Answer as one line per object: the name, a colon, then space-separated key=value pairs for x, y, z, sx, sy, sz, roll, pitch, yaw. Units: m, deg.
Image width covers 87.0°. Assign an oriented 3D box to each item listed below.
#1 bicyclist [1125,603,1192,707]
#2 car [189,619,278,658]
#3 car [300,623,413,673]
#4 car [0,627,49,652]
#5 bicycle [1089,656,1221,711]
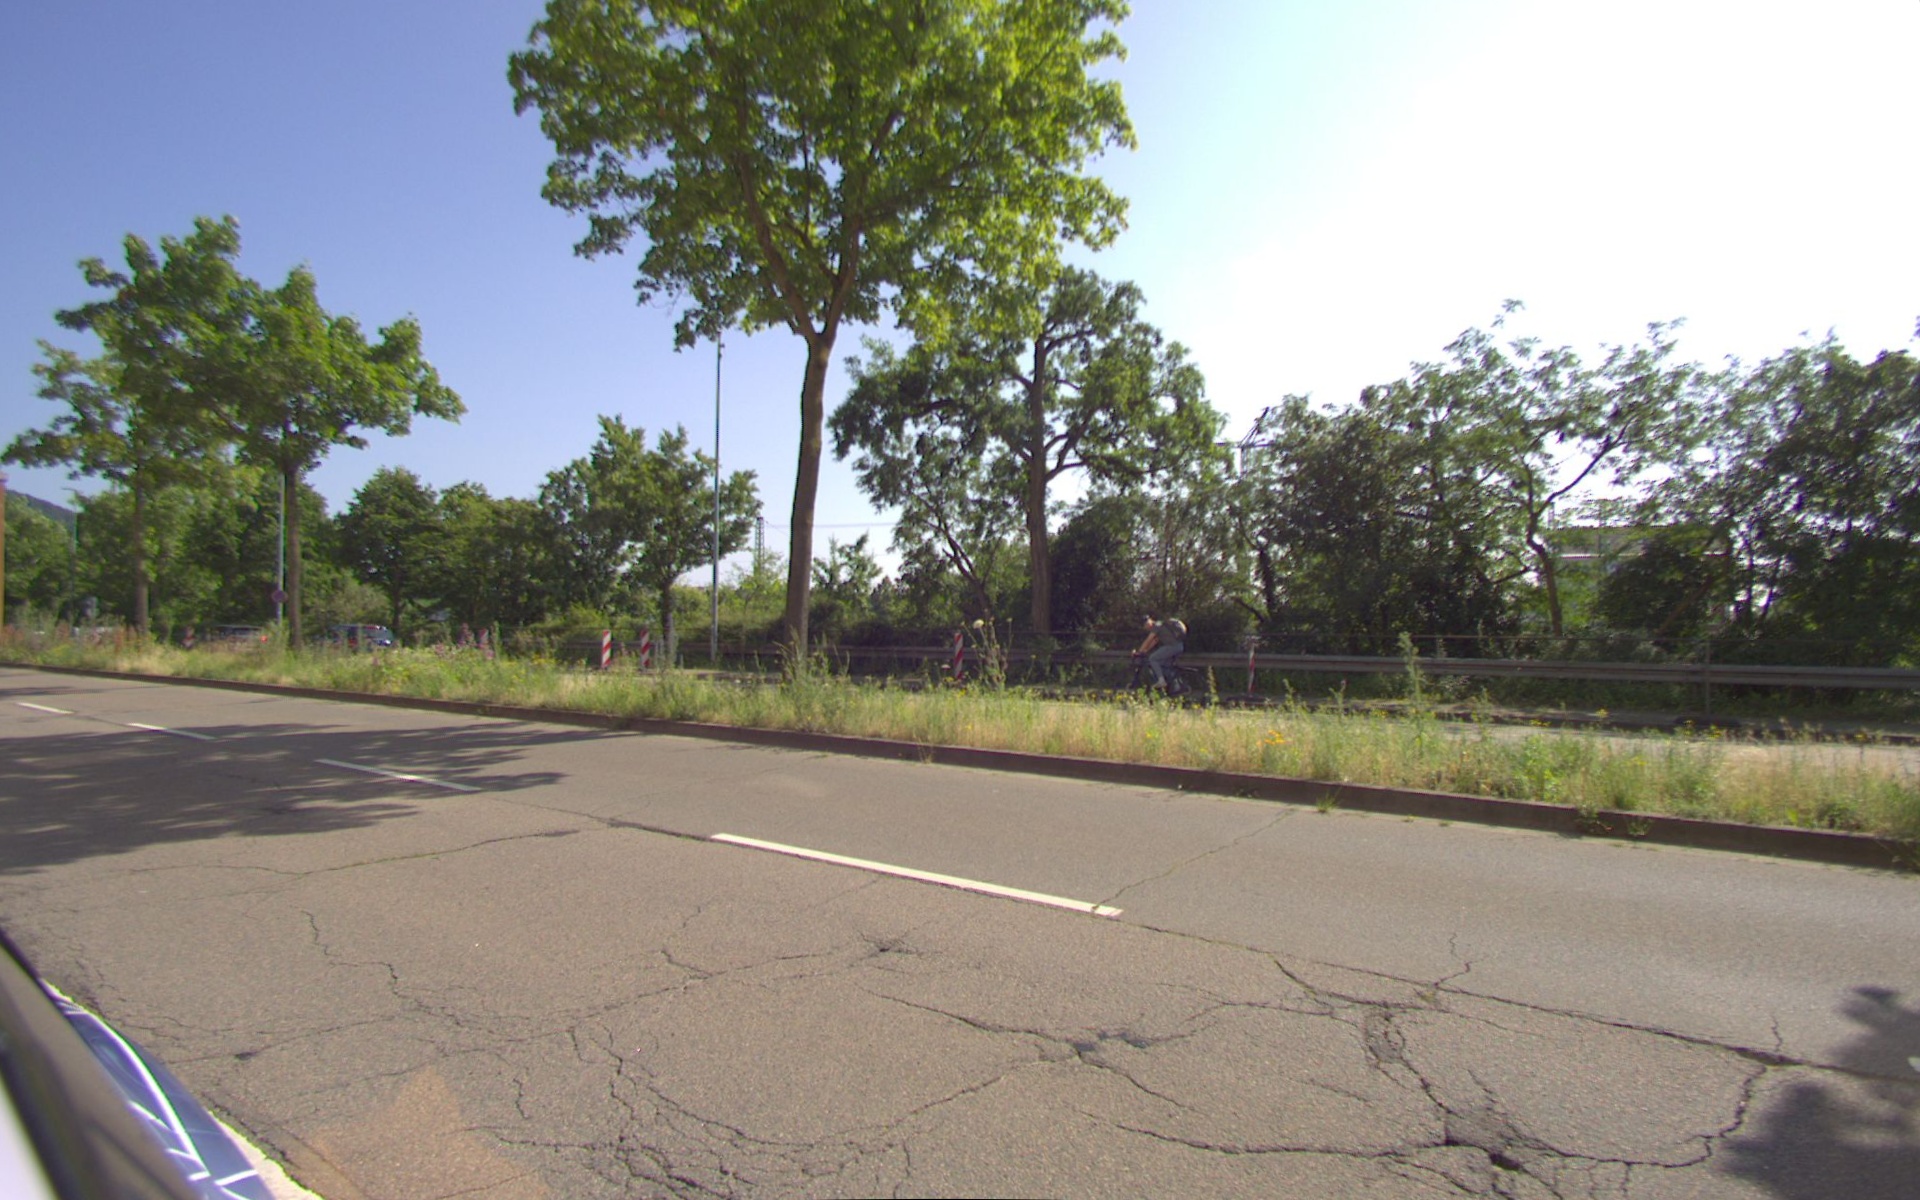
bicyclist: x=3.654 y=0.987 z=18.616 sx=1.014 sy=1.846 sz=0.690 roll=-1 pitch=-2 yaw=34
car: x=-30.009 y=1.548 z=41.779 sx=3.991 sy=1.541 sz=1.782 roll=-1 pitch=-1 yaw=35
car: x=-19.365 y=1.497 z=32.445 sx=4.079 sy=1.485 sz=1.746 roll=-1 pitch=-2 yaw=38
car: x=-54.953 y=2.304 z=59.147 sx=3.960 sy=1.427 sz=1.631 roll=-1 pitch=-2 yaw=35
bicycle: x=3.573 y=1.518 z=18.667 sx=2.336 sy=0.912 sz=0.687 roll=-1 pitch=-2 yaw=35
